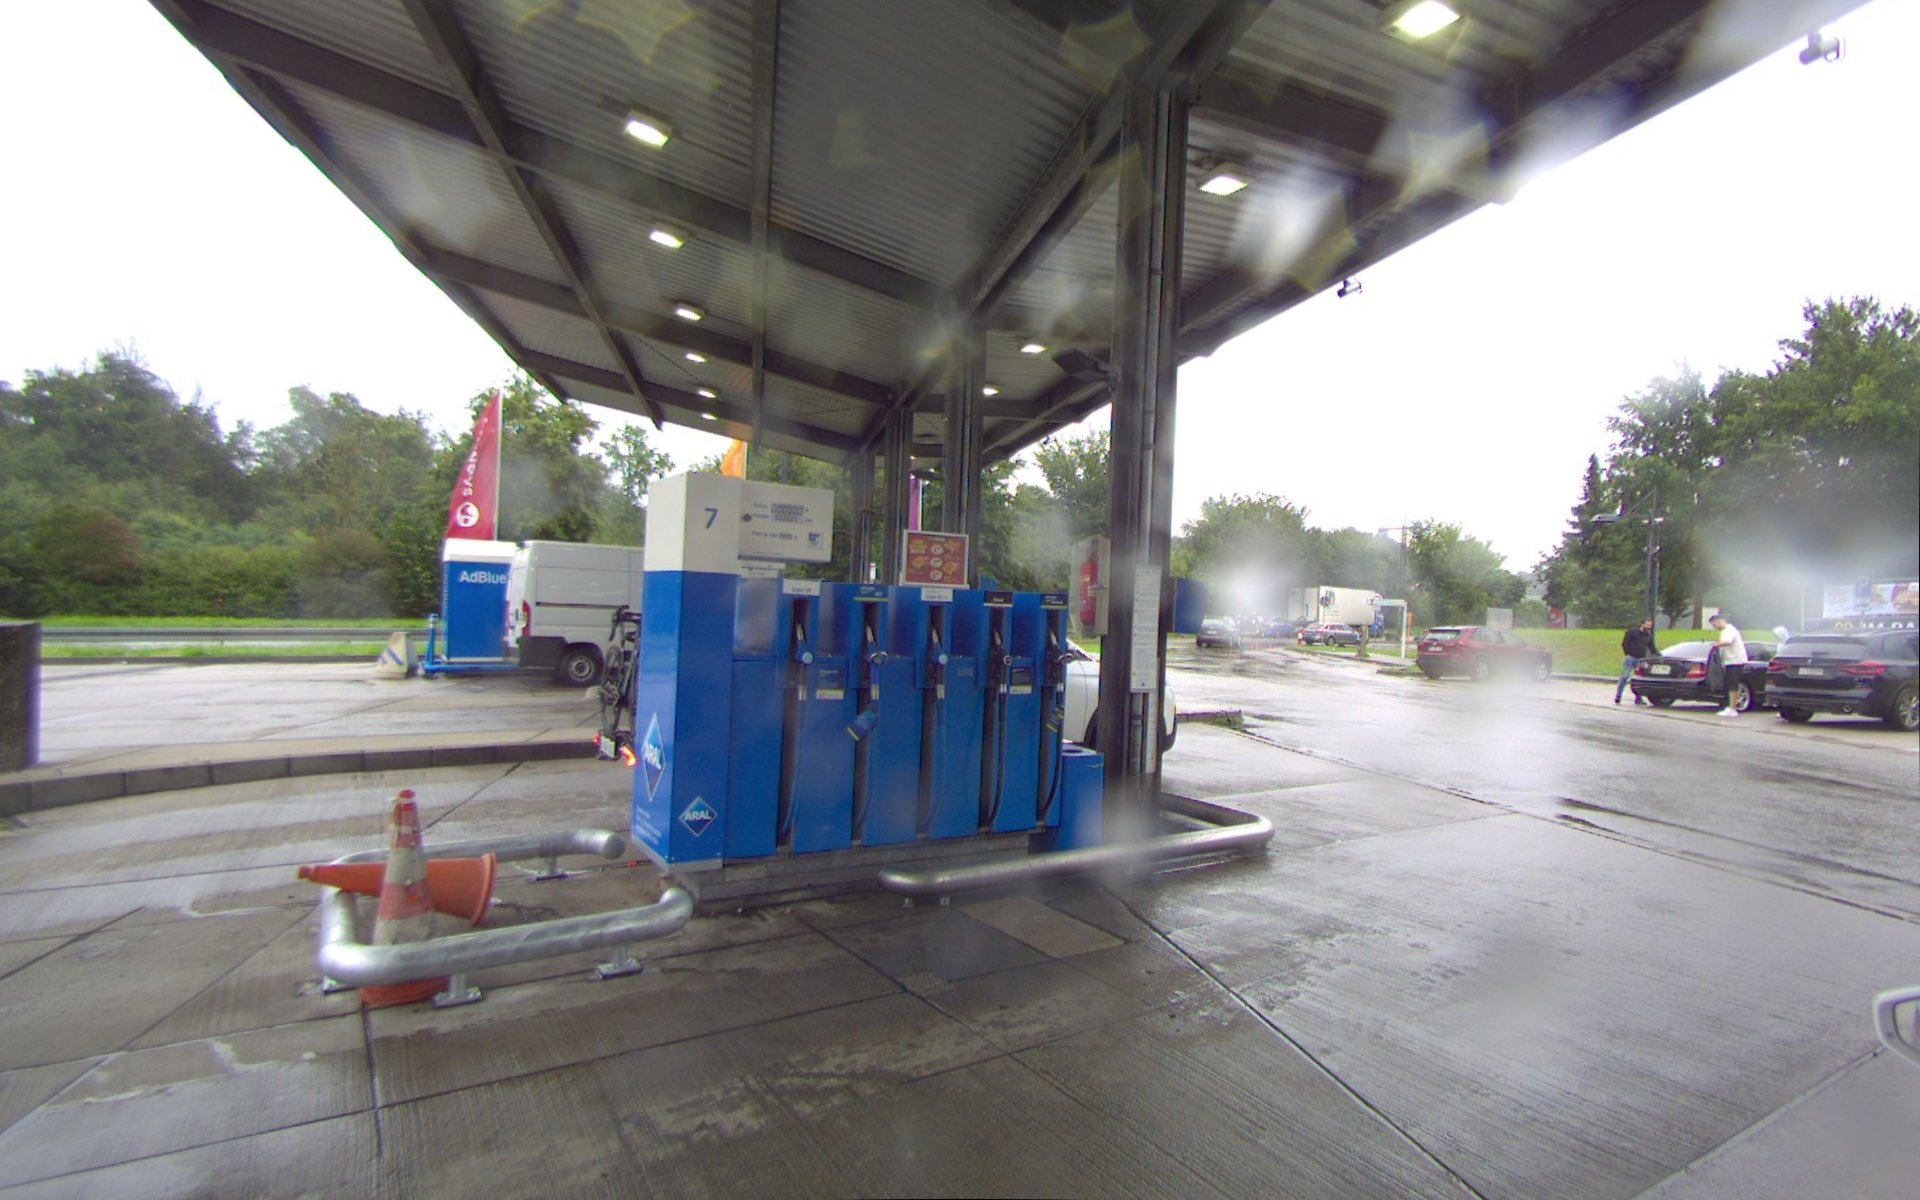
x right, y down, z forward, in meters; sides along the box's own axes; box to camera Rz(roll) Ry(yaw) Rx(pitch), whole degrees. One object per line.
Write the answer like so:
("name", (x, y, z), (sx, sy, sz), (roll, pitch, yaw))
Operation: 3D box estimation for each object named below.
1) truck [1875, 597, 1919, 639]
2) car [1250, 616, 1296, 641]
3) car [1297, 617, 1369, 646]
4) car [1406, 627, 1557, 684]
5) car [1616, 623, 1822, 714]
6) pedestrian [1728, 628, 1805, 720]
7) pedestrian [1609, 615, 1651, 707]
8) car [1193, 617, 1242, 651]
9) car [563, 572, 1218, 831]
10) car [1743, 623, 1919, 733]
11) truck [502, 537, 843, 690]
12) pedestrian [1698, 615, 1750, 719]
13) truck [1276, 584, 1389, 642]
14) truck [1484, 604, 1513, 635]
("truck", (68.862, 1.333, 71.698), (5.285, 2.959, 2.191), (2, 0, -5))
("car", (22.911, 2.065, 73.433), (1.787, 1.704, 3.934), (2, 0, 40))
("car", (23.077, 1.972, 62.194), (3.939, 1.650, 1.770), (2, -1, -20))
("car", (16.086, 1.674, 30.998), (4.283, 1.666, 1.933), (1, -2, -25))
("car", (15.951, 1.361, 21.086), (4.293, 1.734, 2.007), (1, -2, -31))
("pedestrian", (15.172, 1.381, 18.899), (0.939, 1.653, 0.701), (2, 0, -18))
("pedestrian", (14.421, 1.296, 21.610), (0.692, 1.912, 0.890), (2, 0, 35))
("car", (13.857, 1.815, 53.858), (1.961, 1.700, 3.999), (1, -1, 23))
("car", (-0.416, 0.703, 8.454), (5.210, 1.629, 1.852), (2, 0, -30))
("car", (16.182, 1.275, 17.463), (4.274, 1.734, 2.016), (1, -1, -18))
("truck", (-5.328, 0.294, 18.935), (5.793, 2.527, 2.221), (2, 0, -30))
("pedestrian", (14.575, 1.249, 19.161), (0.694, 1.912, 0.949), (2, 0, 42))
("truck", (31.887, 1.190, 85.148), (3.498, 4.397, 16.922), (2, 0, 40))
("truck", (58.375, 2.118, 108.991), (2.438, 3.126, 7.350), (2, 0, 26))
